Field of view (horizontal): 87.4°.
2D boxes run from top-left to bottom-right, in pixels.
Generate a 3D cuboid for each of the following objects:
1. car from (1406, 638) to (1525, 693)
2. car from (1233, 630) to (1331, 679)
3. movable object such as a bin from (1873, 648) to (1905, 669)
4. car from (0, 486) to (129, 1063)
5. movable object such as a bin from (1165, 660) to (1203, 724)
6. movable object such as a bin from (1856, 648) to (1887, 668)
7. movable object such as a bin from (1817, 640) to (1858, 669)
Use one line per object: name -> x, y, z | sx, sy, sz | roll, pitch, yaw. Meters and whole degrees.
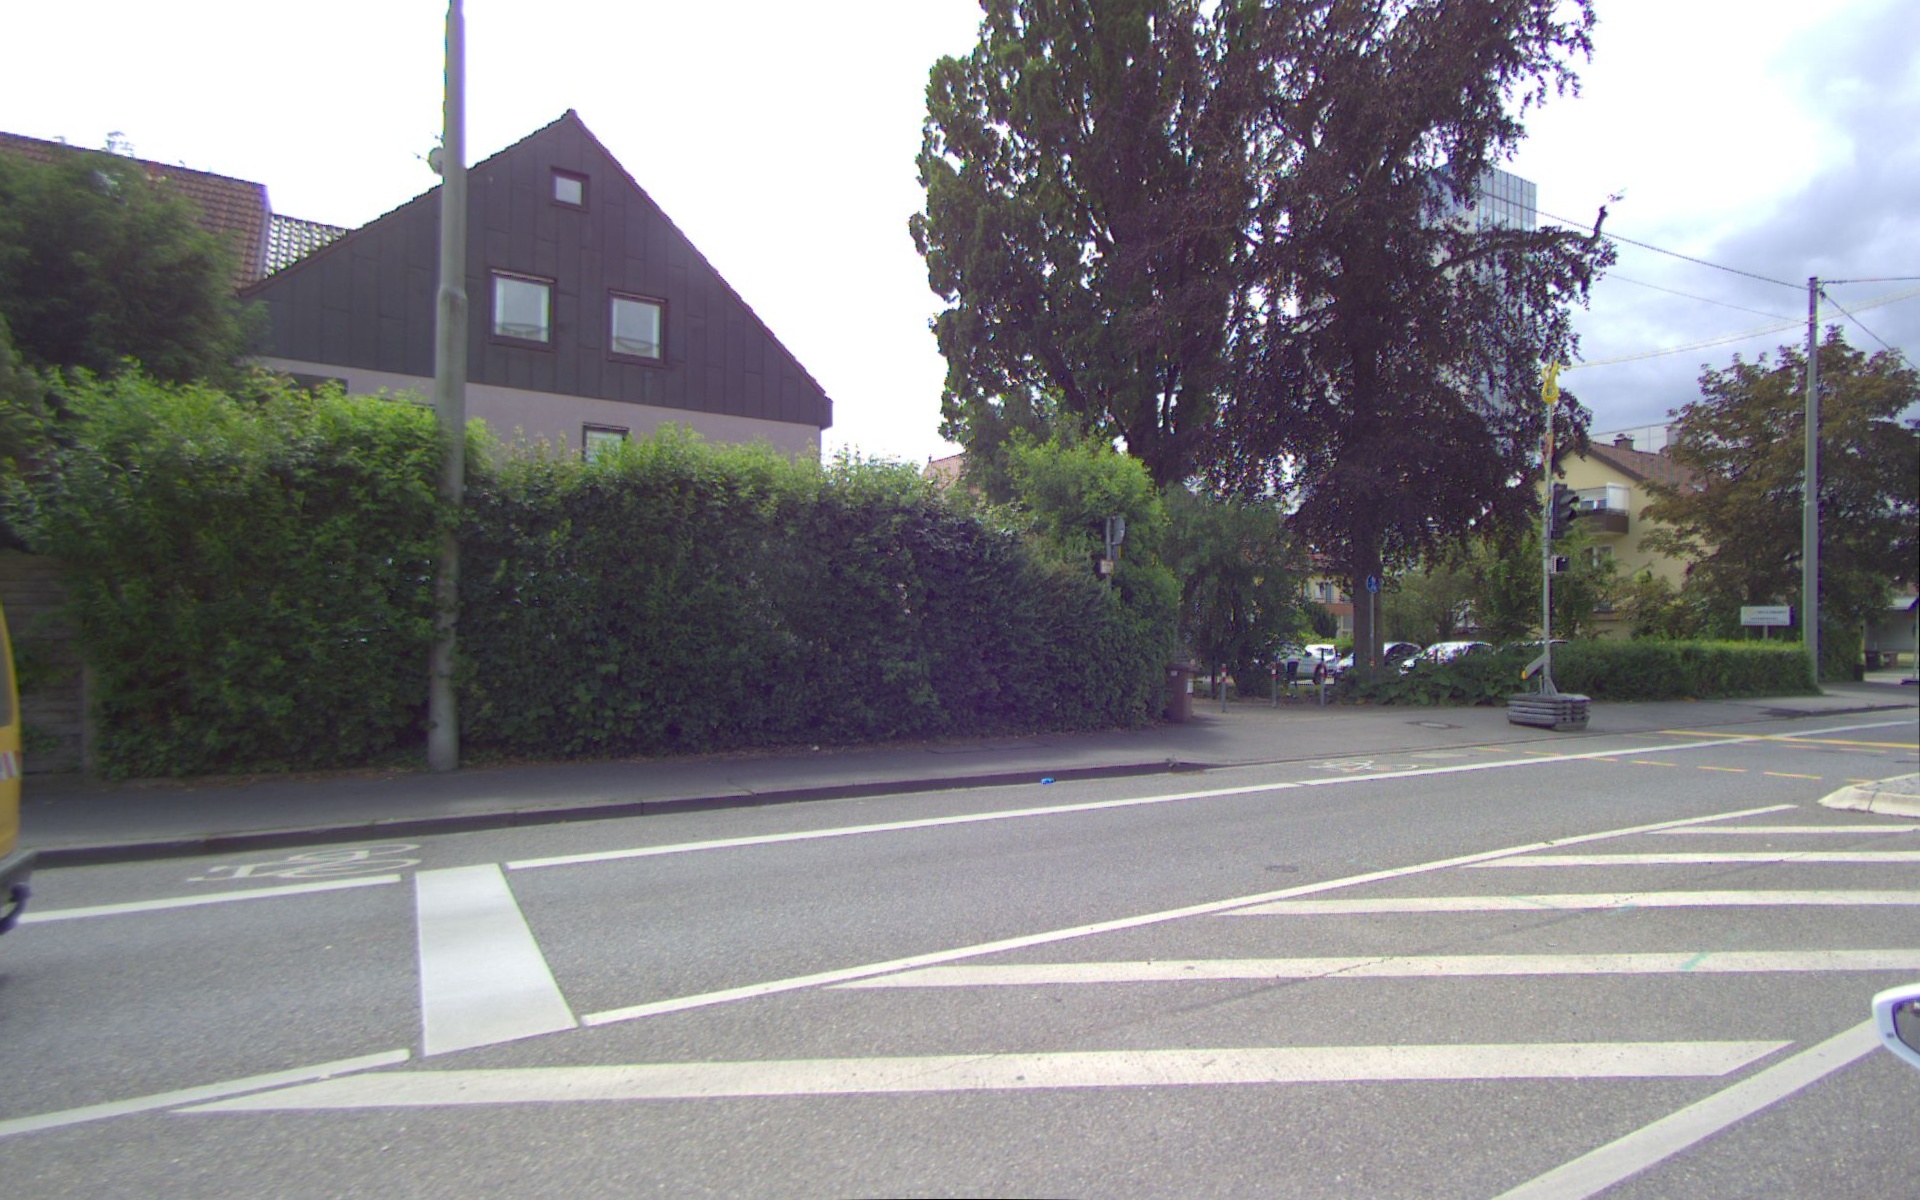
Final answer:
car -> 15.005, 1.906, 29.795 | 3.398, 1.535, 1.652 | 1, -2, -32
car -> 11.828, 1.964, 36.835 | 3.398, 1.685, 1.652 | 1, -2, -32
movable object such as a bin -> 43.119, 2.690, 46.608 | 0.985, 0.954, 0.745 | 1, -3, -23
car -> -5.602, 0.579, 2.900 | 4.631, 1.929, 1.833 | 1, -3, -30
movable object such as a bin -> 3.535, 1.436, 15.831 | 0.545, 0.965, 0.540 | 0, -2, 17
movable object such as a bin -> 43.029, 2.732, 47.417 | 0.985, 0.954, 0.745 | 1, -3, -23
movable object such as a bin -> 42.572, 2.648, 48.737 | 1.389, 1.347, 1.417 | -2, -3, 39
